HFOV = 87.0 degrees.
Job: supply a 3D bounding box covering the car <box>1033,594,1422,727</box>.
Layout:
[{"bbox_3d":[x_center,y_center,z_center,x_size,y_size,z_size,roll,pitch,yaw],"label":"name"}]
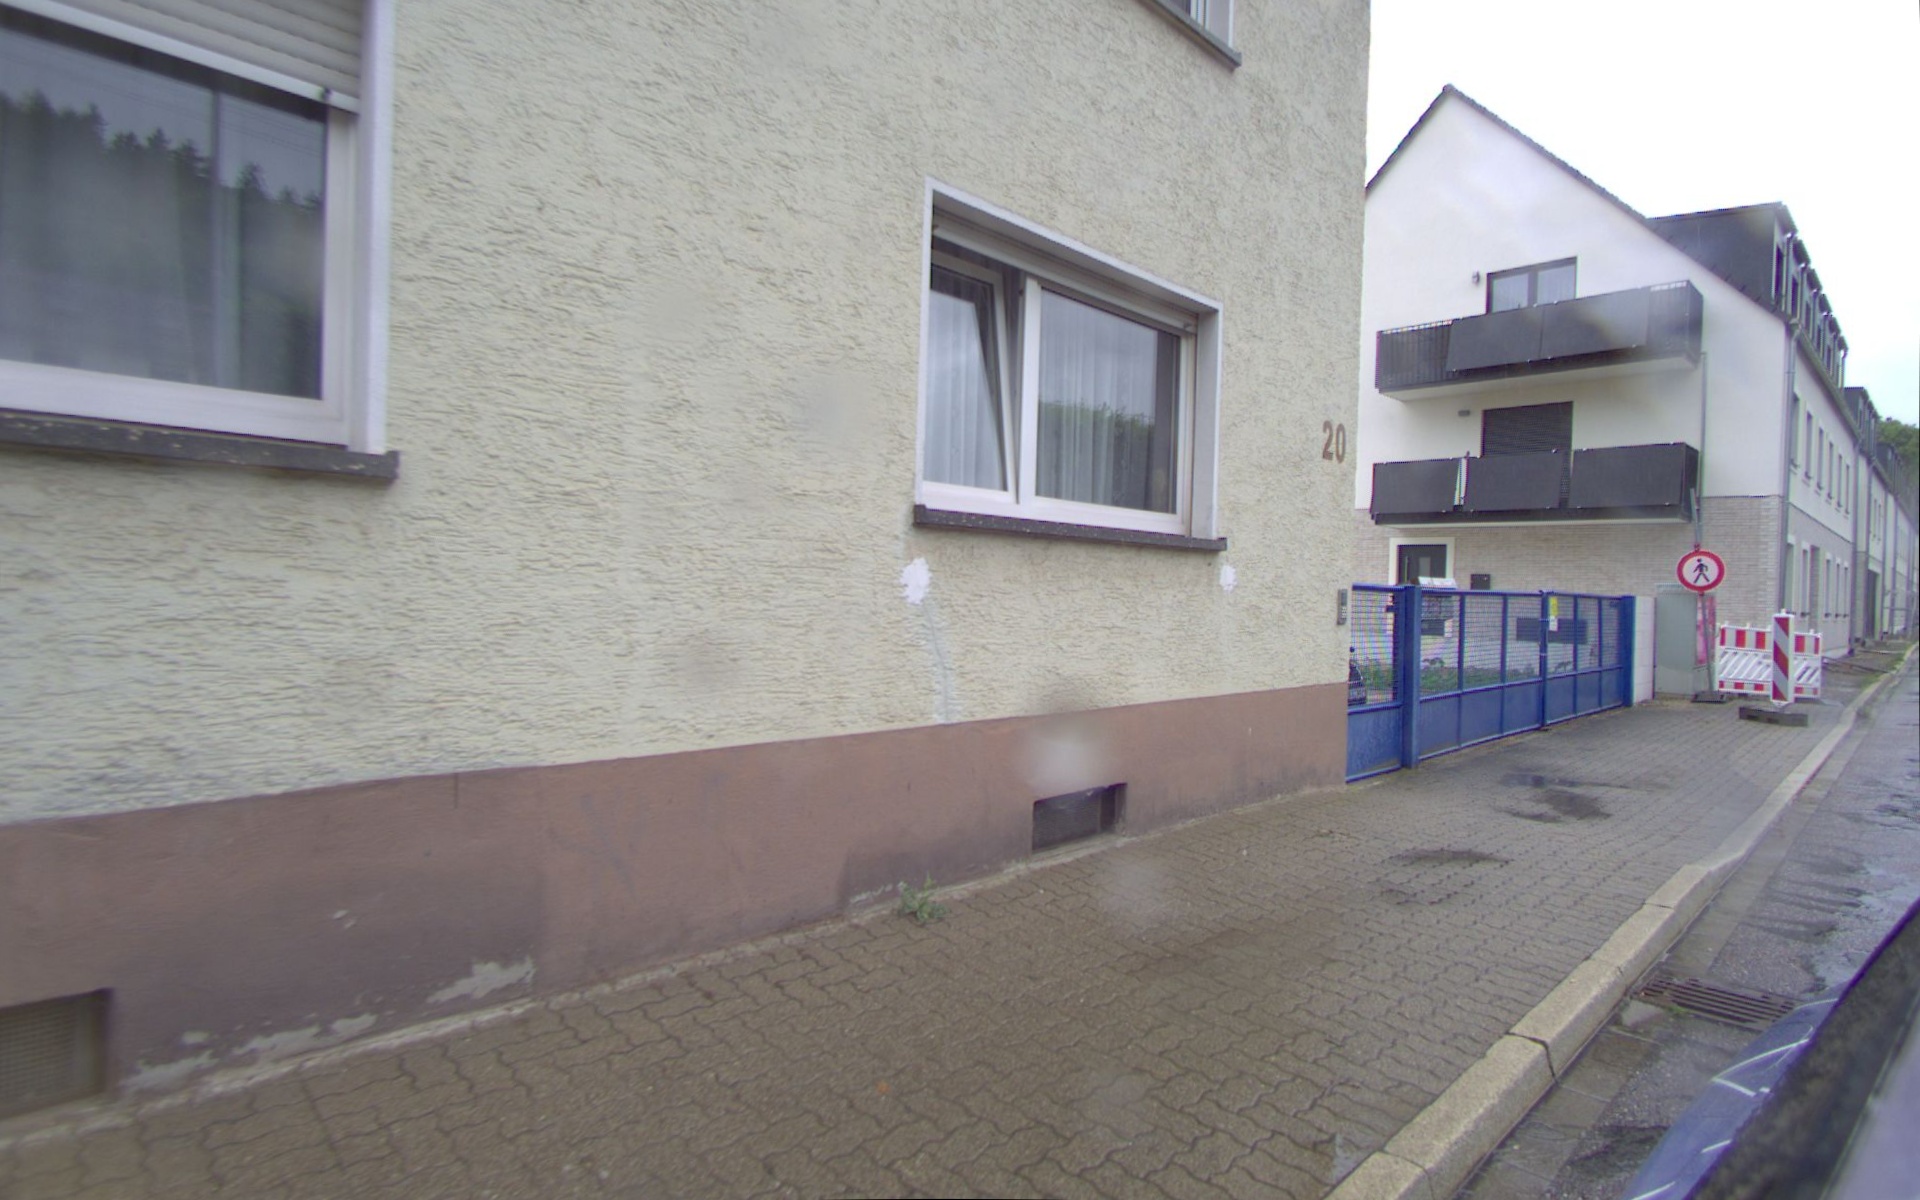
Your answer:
[{"bbox_3d":[3.050,0.664,12.171,1.881,1.319,4.146,0,-2,-44],"label":"car"}]
